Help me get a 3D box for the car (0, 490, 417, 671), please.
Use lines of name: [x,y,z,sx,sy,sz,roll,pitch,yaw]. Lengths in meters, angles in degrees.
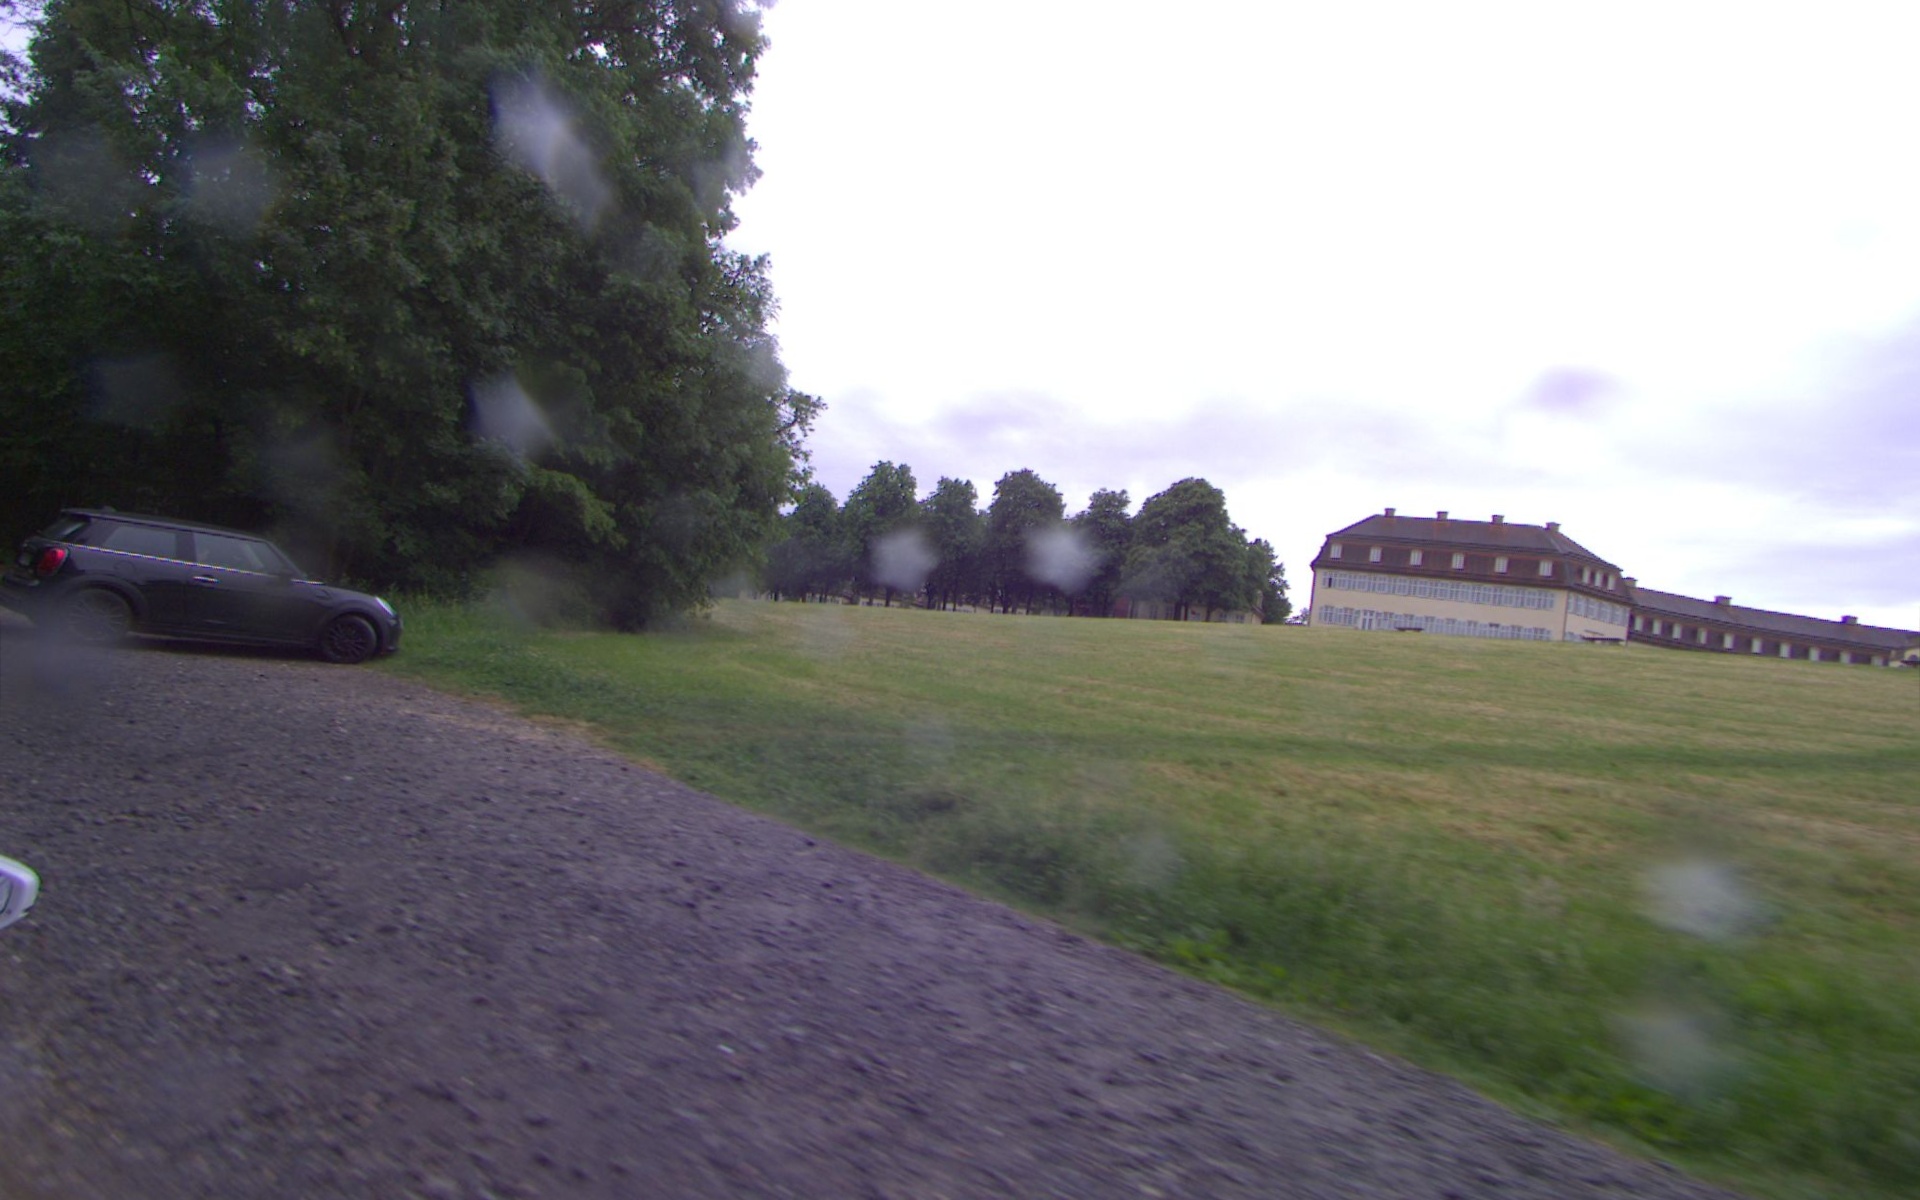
car: [-8.797,-0.140,11.883,1.680,1.451,3.715,7,-4,35]
